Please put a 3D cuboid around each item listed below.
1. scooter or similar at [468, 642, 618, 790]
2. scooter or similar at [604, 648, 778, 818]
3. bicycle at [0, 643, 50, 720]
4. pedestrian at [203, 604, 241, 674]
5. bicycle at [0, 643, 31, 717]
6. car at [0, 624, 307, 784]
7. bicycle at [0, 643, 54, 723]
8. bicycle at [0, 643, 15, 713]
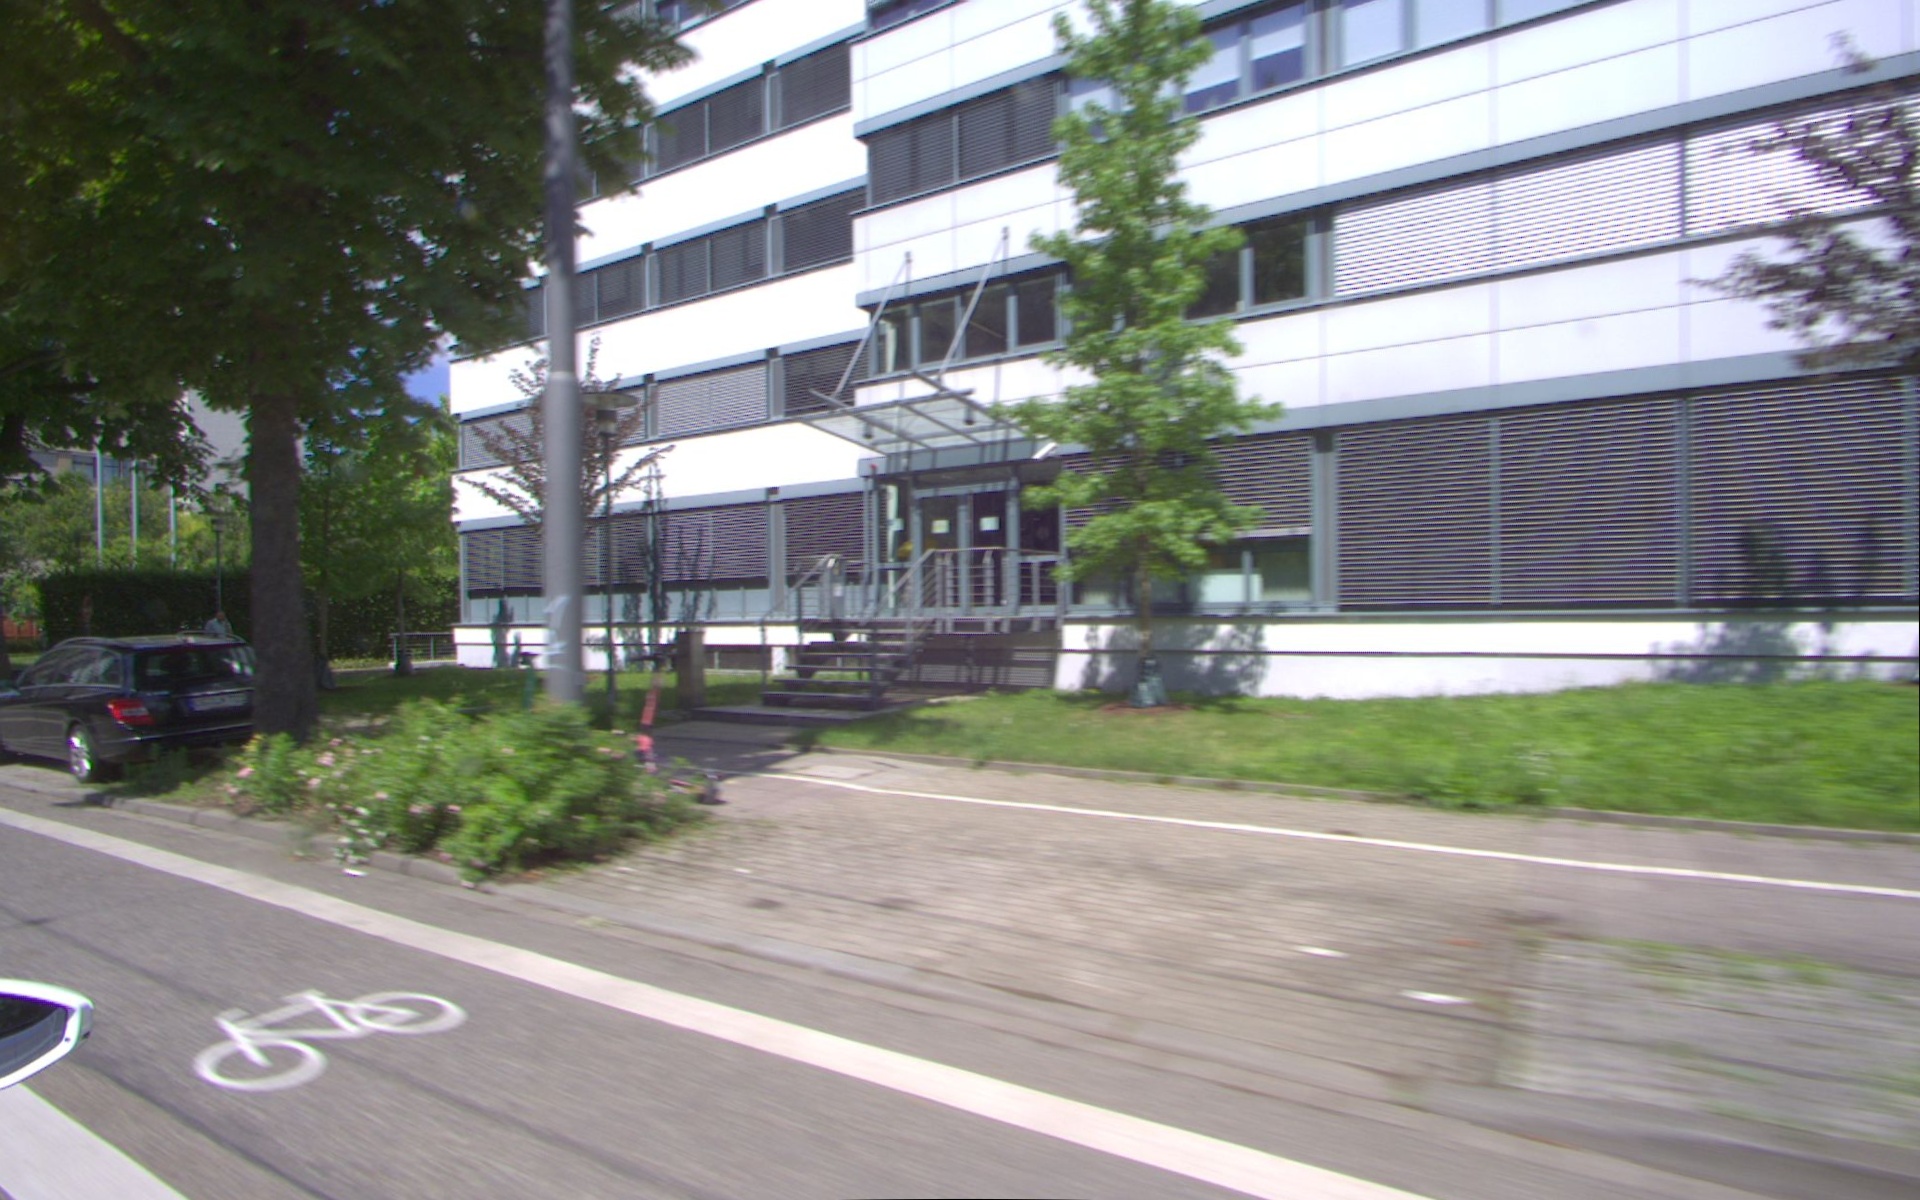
[{"bbox_3d":[-3.792,1.008,9.082,1.365,1.224,0.538,-1,2,32],"label":"scooter or similar"},{"bbox_3d":[-2.177,1.021,8.069,1.365,1.224,0.538,-1,2,32],"label":"scooter or similar"},{"bbox_3d":[-14.737,1.246,14.821,0.527,1.126,1.808,-1,0,23],"label":"bicycle"},{"bbox_3d":[-19.033,0.993,25.825,0.649,1.772,0.623,-1,1,41],"label":"pedestrian"},{"bbox_3d":[-15.289,1.259,15.089,0.524,1.126,1.808,-1,0,23],"label":"bicycle"},{"bbox_3d":[-9.566,1.049,11.498,4.567,1.486,1.673,-1,0,32],"label":"car"},{"bbox_3d":[-14.264,1.225,14.363,0.506,1.126,1.805,-1,0,29],"label":"bicycle"},{"bbox_3d":[-15.837,1.260,15.435,0.481,1.126,1.810,-1,0,18],"label":"bicycle"}]
